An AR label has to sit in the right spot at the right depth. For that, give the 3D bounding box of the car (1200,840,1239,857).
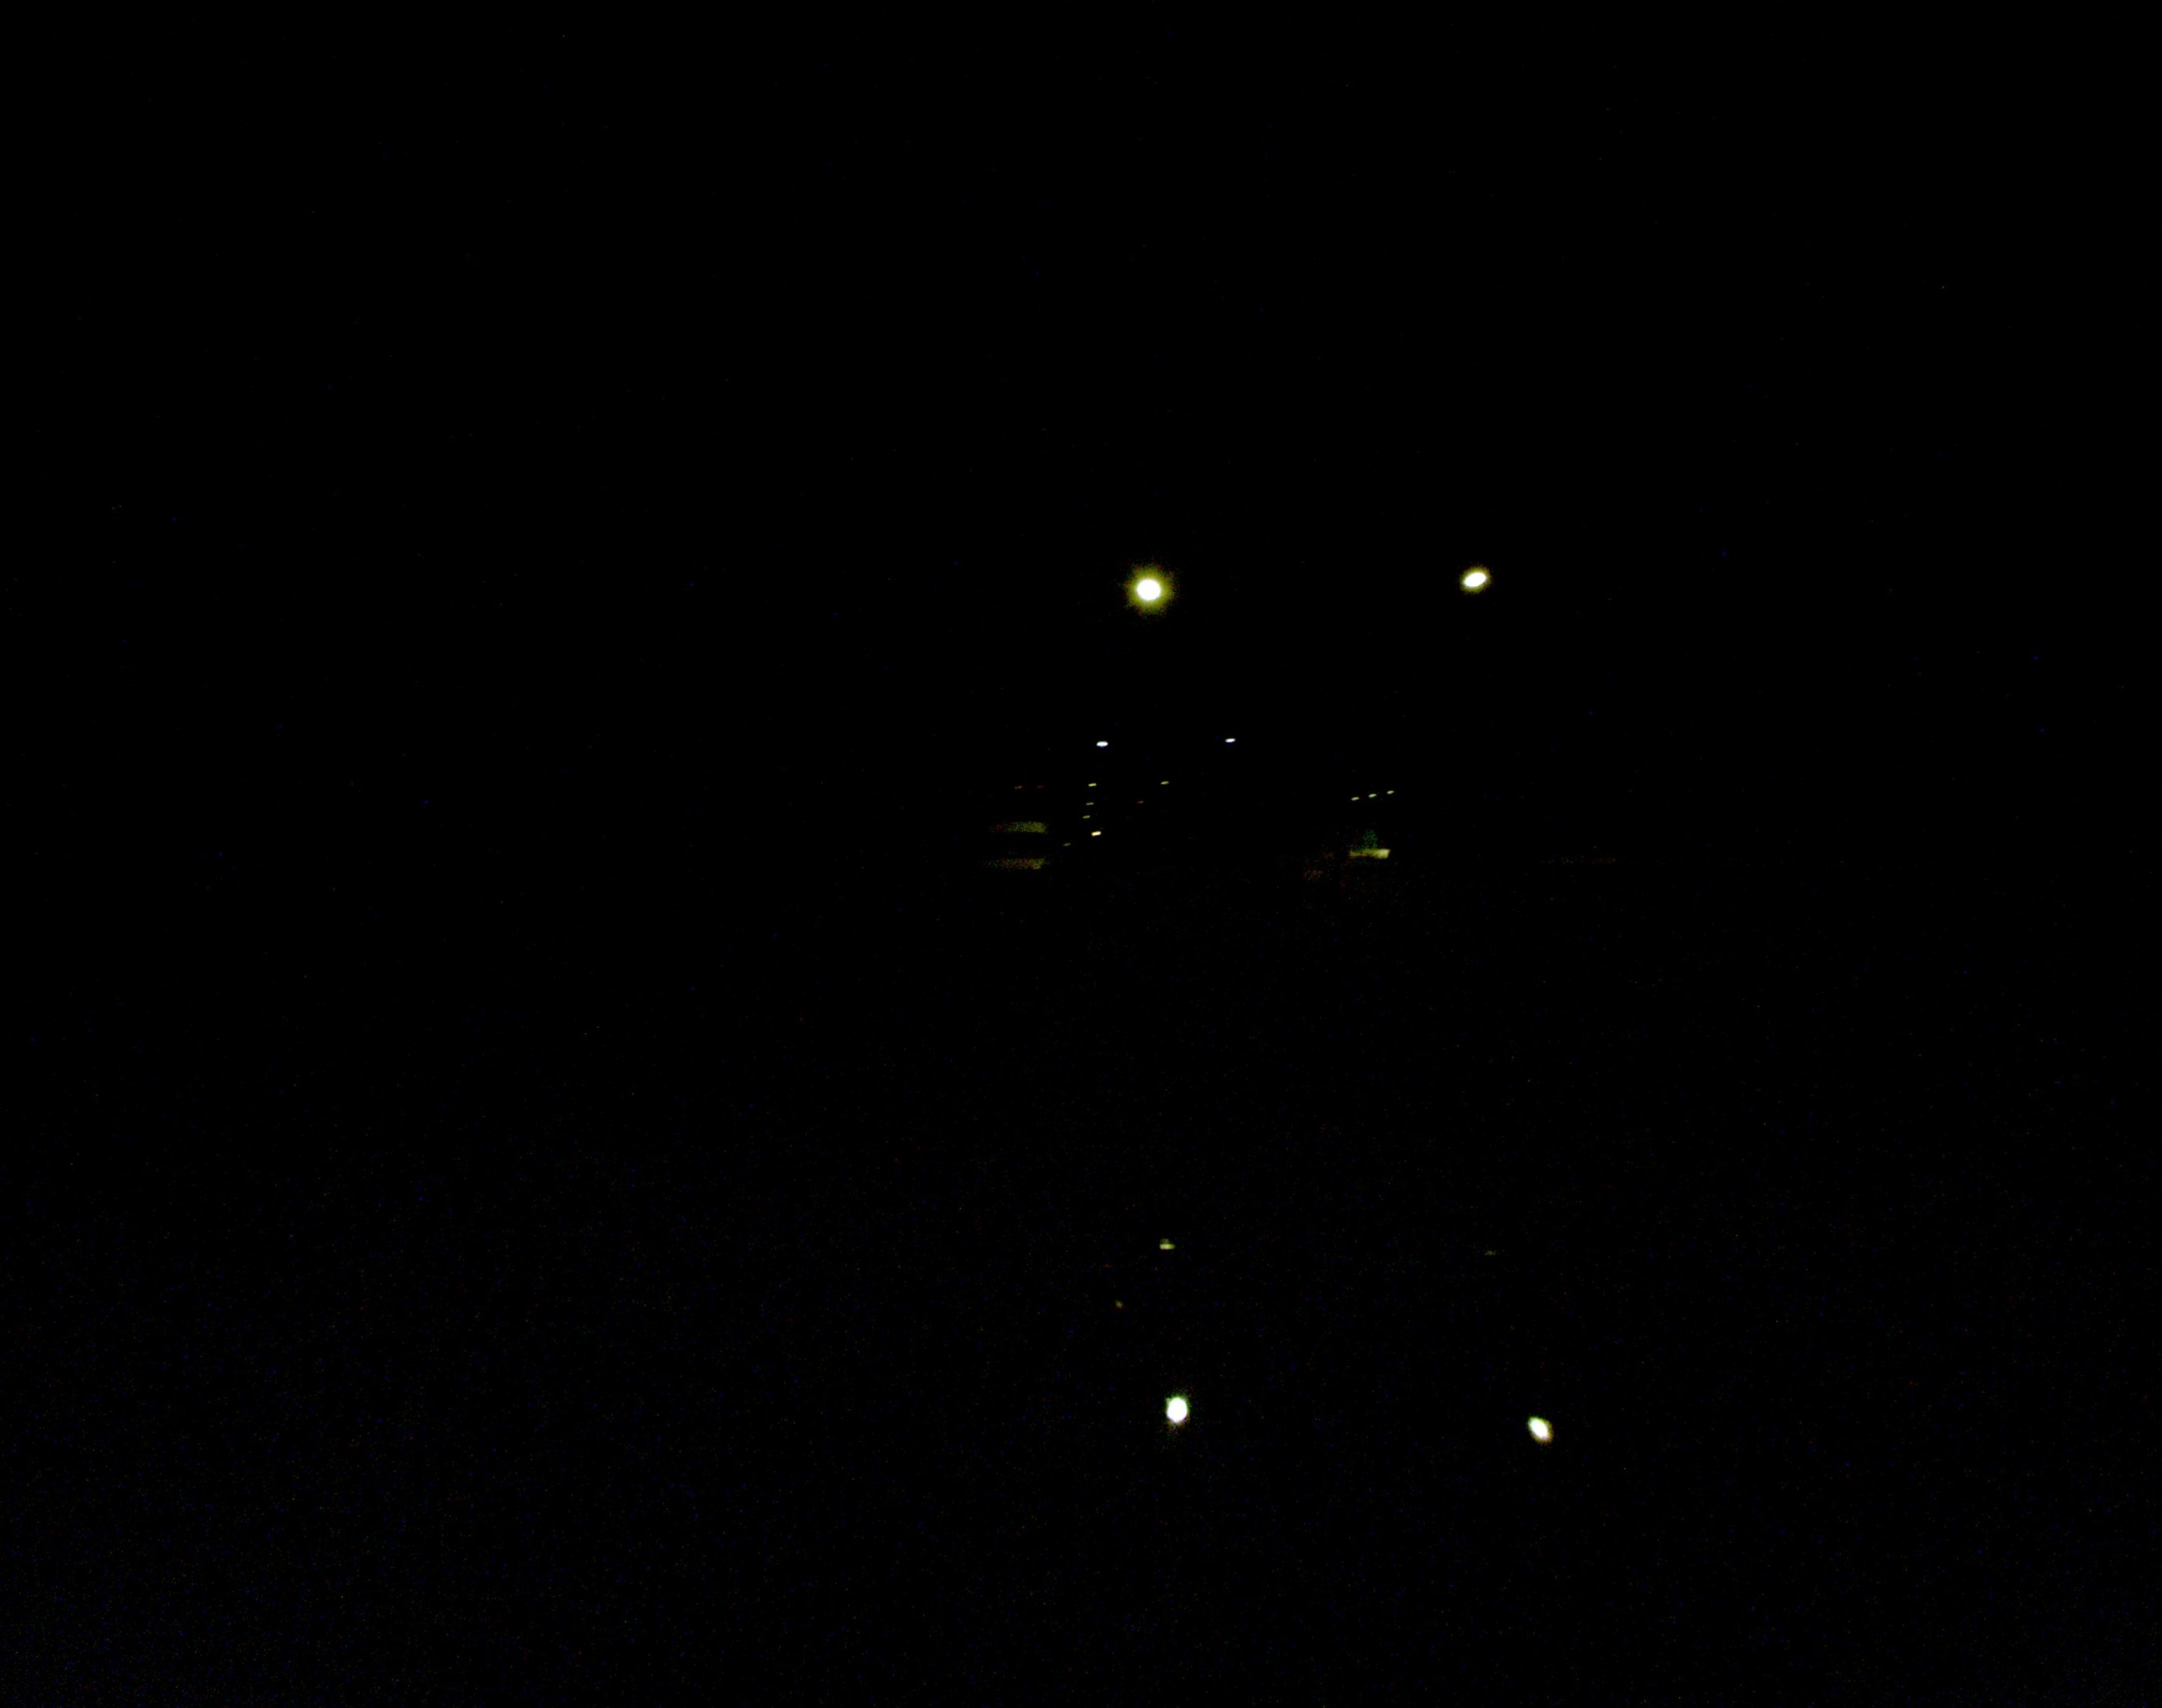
[{"bbox_3d":[17.233,-0.626,94.508,4.443,1.960,2.000,-2,1,0],"label":"car"}]

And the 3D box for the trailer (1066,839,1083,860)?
[{"bbox_3d":[-1.076,-0.669,123.930,2.404,3.306,4.361,-2,1,-3],"label":"trailer"}]

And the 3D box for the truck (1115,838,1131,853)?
[{"bbox_3d":[10.840,-2.207,196.212,2.829,3.610,10.397,-2,0,-3],"label":"truck"}]

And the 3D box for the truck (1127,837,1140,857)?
[{"bbox_3d":[11.586,-1.682,168.335,2.644,4.290,12.823,1,1,3],"label":"truck"}]

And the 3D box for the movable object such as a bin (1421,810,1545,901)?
[{"bbox_3d":[11.591,0.019,22.074,1.555,2.453,2.834,0,2,-21],"label":"movable object such as a bin"}]

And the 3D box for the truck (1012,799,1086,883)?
[{"bbox_3d":[-1.507,-0.682,40.354,3.332,3.846,9.325,-2,1,0],"label":"truck"}]

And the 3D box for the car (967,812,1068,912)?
[{"bbox_3d":[-1.686,0.187,22.660,2.113,2.501,6.372,-2,0,3],"label":"car"}]
